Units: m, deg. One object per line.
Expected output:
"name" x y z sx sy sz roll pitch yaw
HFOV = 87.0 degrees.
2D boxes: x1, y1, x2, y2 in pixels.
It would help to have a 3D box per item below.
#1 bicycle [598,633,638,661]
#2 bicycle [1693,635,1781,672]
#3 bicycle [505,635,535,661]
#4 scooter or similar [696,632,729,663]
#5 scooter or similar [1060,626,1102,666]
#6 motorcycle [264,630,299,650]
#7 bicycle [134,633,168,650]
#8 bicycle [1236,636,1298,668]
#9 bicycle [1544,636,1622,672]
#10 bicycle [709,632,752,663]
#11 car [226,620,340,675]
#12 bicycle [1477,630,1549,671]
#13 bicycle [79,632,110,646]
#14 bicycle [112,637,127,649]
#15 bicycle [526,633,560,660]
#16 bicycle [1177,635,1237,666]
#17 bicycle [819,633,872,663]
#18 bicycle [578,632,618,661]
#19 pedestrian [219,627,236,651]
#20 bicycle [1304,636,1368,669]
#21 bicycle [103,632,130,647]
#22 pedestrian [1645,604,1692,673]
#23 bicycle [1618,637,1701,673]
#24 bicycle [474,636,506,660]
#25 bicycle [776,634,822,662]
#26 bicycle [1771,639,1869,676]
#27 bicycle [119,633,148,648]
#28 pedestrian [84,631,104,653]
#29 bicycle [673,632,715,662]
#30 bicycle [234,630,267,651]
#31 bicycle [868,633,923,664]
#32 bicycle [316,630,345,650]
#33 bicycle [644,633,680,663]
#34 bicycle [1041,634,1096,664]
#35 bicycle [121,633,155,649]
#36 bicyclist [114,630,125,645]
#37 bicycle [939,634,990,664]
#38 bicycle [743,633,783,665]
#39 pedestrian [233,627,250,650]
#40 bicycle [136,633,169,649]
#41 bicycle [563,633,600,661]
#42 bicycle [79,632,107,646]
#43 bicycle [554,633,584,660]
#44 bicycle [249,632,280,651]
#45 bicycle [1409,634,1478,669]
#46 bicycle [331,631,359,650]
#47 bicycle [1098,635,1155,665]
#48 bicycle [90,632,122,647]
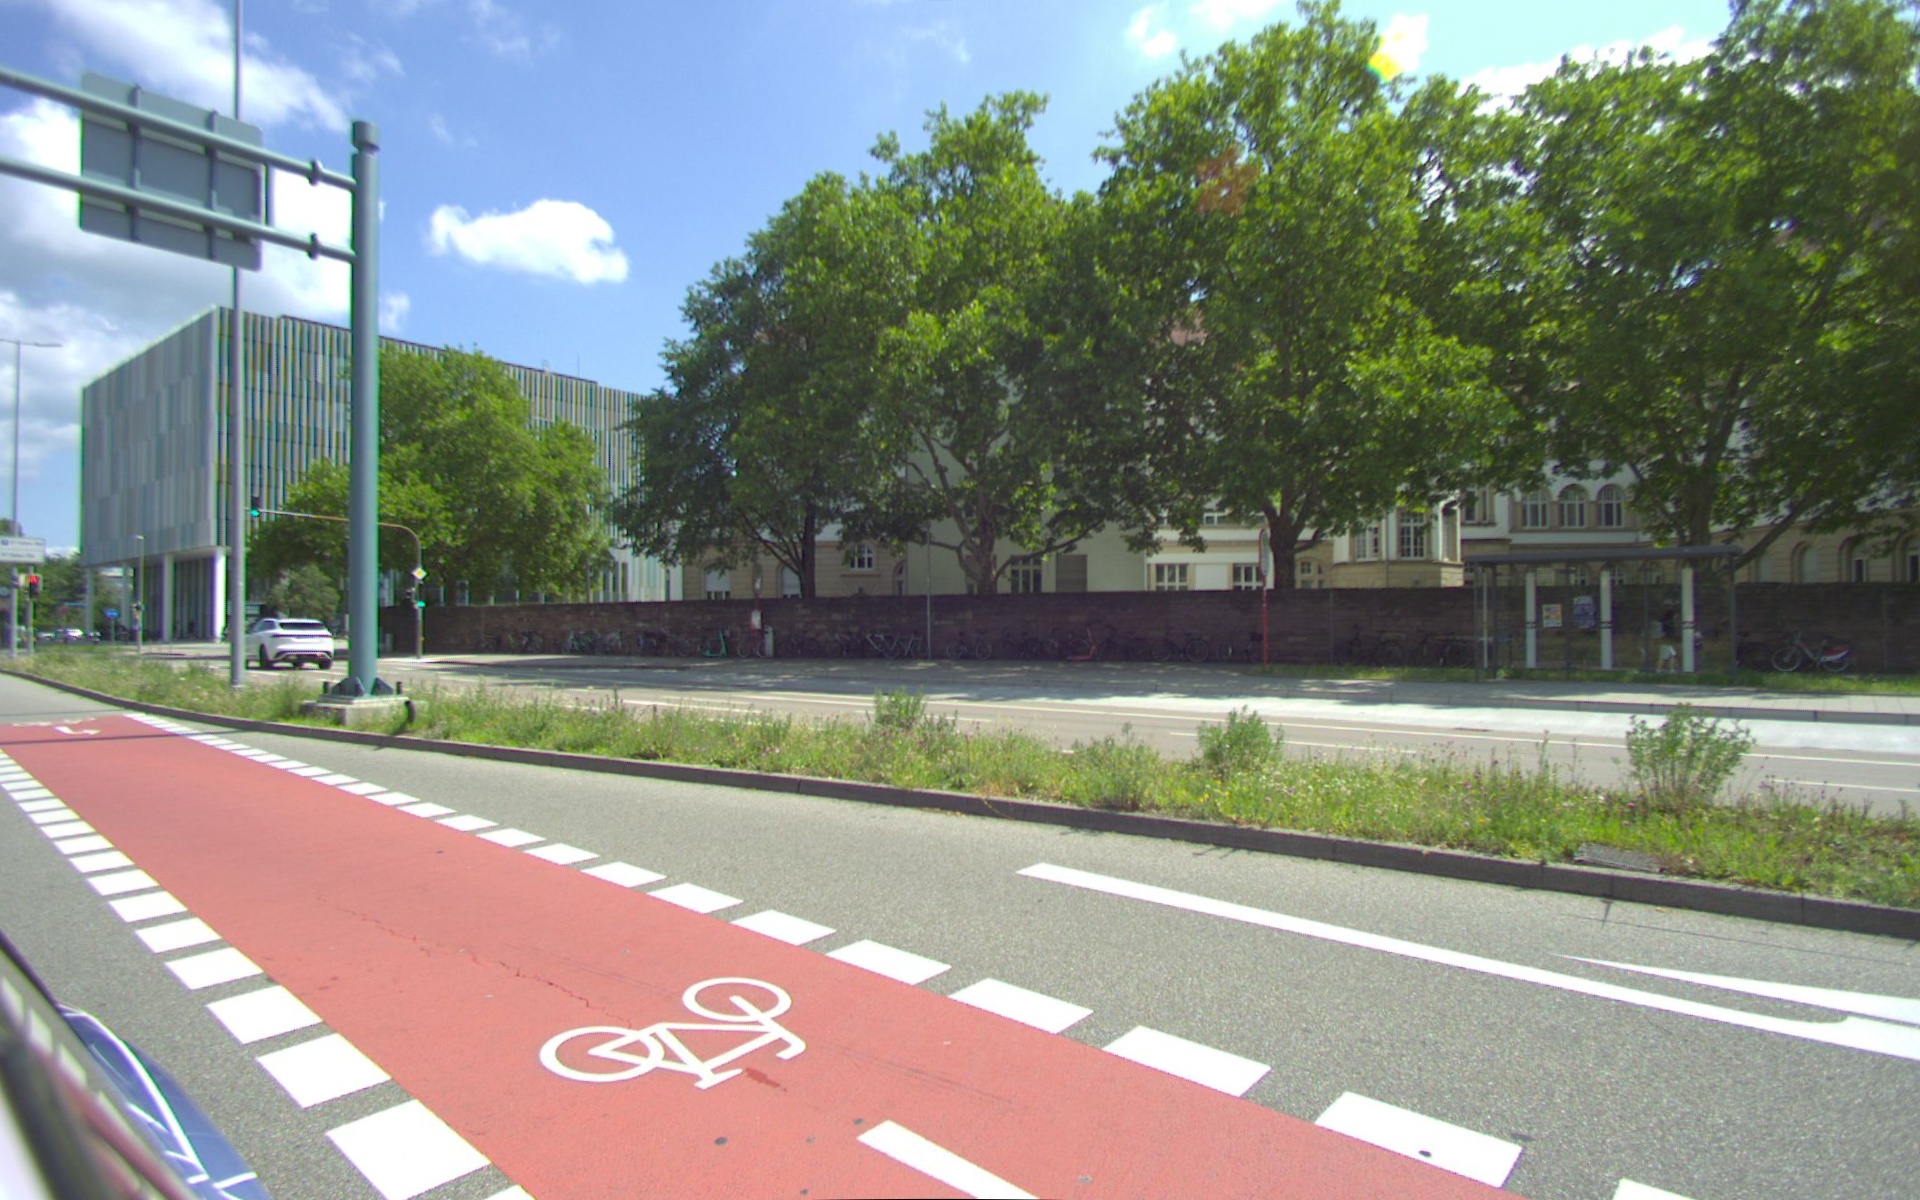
"bicycle" -14.143 1.940 41.844 1.576 1.161 0.401 -1 -2 8
"bicycle" 19.659 1.346 25.640 1.653 0.909 0.541 -1 -2 21
"bicycle" -20.033 2.159 46.070 1.589 1.161 0.495 -2 -2 33
"scooter or similar" -9.376 1.807 38.396 1.184 1.161 0.430 -1 -2 20
"scooter or similar" 3.734 1.419 31.236 1.184 1.192 0.430 -1 -2 20
"motorcycle" -56.913 3.366 84.913 0.957 1.652 3.301 0 -2 -5
"bicycle" -77.343 3.959 96.768 0.621 1.506 2.420 -2 -2 41
"bicycle" 8.901 1.505 29.392 1.663 0.909 0.497 -2 -2 38
"bicycle" 16.452 1.426 26.763 1.653 0.909 0.541 -1 -2 21
"bicycle" -8.812 1.821 38.886 1.582 1.161 0.530 -1 -2 19
"car" -22.419 1.547 33.431 4.774 1.680 2.049 -2 -2 42
"bicycle" 14.789 1.348 27.099 1.614 1.059 0.541 -1 -2 24
"bicycle" -93.516 4.174 109.354 0.621 1.506 2.479 -2 -2 41
"bicycle" -71.585 3.641 86.187 2.163 1.006 0.638 -2 -2 43
"bicycle" -18.603 2.081 45.159 1.589 1.161 0.616 -2 -2 33
"bicycle" 7.388 1.508 30.309 1.656 0.909 0.540 -1 -2 26
"bicycle" -4.086 1.704 36.080 1.941 1.055 0.540 -1 -2 29
"bicycle" -15.188 1.950 42.438 1.576 1.161 0.401 -1 -2 8
"pedestrian" -59.458 3.183 82.162 0.955 1.940 0.882 0 -1 -20
"bicycle" 10.719 1.502 28.834 1.656 0.909 0.540 -1 -2 26
"bicycle" -87.525 4.100 105.032 0.621 1.506 2.044 -2 -2 41
"pedestrian" 17.060 0.922 24.391 0.752 1.629 0.612 -1 -1 20
"bicycle" 18.065 1.426 26.184 1.653 0.909 0.541 -1 -2 21
"bicycle" -21.946 2.236 47.237 1.589 1.107 0.567 -2 -2 33
"bicycle" -5.926 1.750 37.182 1.795 1.016 0.476 -1 -2 32
"bicycle" 21.370 1.422 25.173 1.781 0.909 0.450 -1 -2 21
"bicycle" -82.578 4.033 101.075 0.621 1.506 2.172 -2 -2 41
"pedestrian" -65.573 3.153 76.610 0.876 1.641 0.961 -1 -2 32
"bicycle" -10.435 1.833 39.658 1.582 1.161 0.530 -1 -2 19
"bicycle" -59.361 3.382 84.692 0.797 1.656 3.420 0 -2 -8
"bicycle" -2.239 1.660 34.931 1.887 1.055 0.540 -1 -2 29
"bicycle" -52.954 3.349 85.145 0.983 1.564 3.423 0 -2 -13
"bicycle" -11.998 1.923 40.746 1.587 1.161 0.398 -2 -2 30
"bicycle" 3.453 1.553 32.134 1.658 0.909 0.540 -1 -2 29
"bicycle" -80.328 3.996 98.944 0.621 1.506 2.479 -2 -2 41
"bicyclist" -71.596 3.202 86.229 0.833 1.235 0.610 -2 -2 41
"bicycle" 0.146 1.623 33.528 1.658 0.956 0.540 -1 -2 29
"bicycle" -7.406 1.842 38.063 1.587 1.151 0.429 -1 -2 29
"pedestrian" -60.955 3.240 85.873 0.955 1.940 0.882 0 -1 -23
"bicycle" -77.923 3.974 97.640 2.473 1.506 0.731 1 -2 -39
"bicycle" -16.149 2.005 43.201 1.581 1.161 0.400 -1 -2 18
"bicycle" -94.891 4.215 110.803 0.656 1.506 2.273 -2 -2 41
"bicycle" -17.122 2.025 44.285 1.591 1.161 0.409 -2 -2 36
"bicycle" -58.247 3.469 84.800 0.919 1.505 2.690 0 -1 -4
"bicycle" 13.261 1.410 27.809 1.655 0.959 0.541 -1 -2 24
"bicycle" -51.730 3.355 85.166 0.983 1.564 3.423 0 -2 -13
"bicycle" 5.147 1.536 31.263 1.658 0.909 0.540 -1 -2 29
"bicycle" -89.732 4.123 106.388 0.621 1.506 2.479 -2 -2 41
